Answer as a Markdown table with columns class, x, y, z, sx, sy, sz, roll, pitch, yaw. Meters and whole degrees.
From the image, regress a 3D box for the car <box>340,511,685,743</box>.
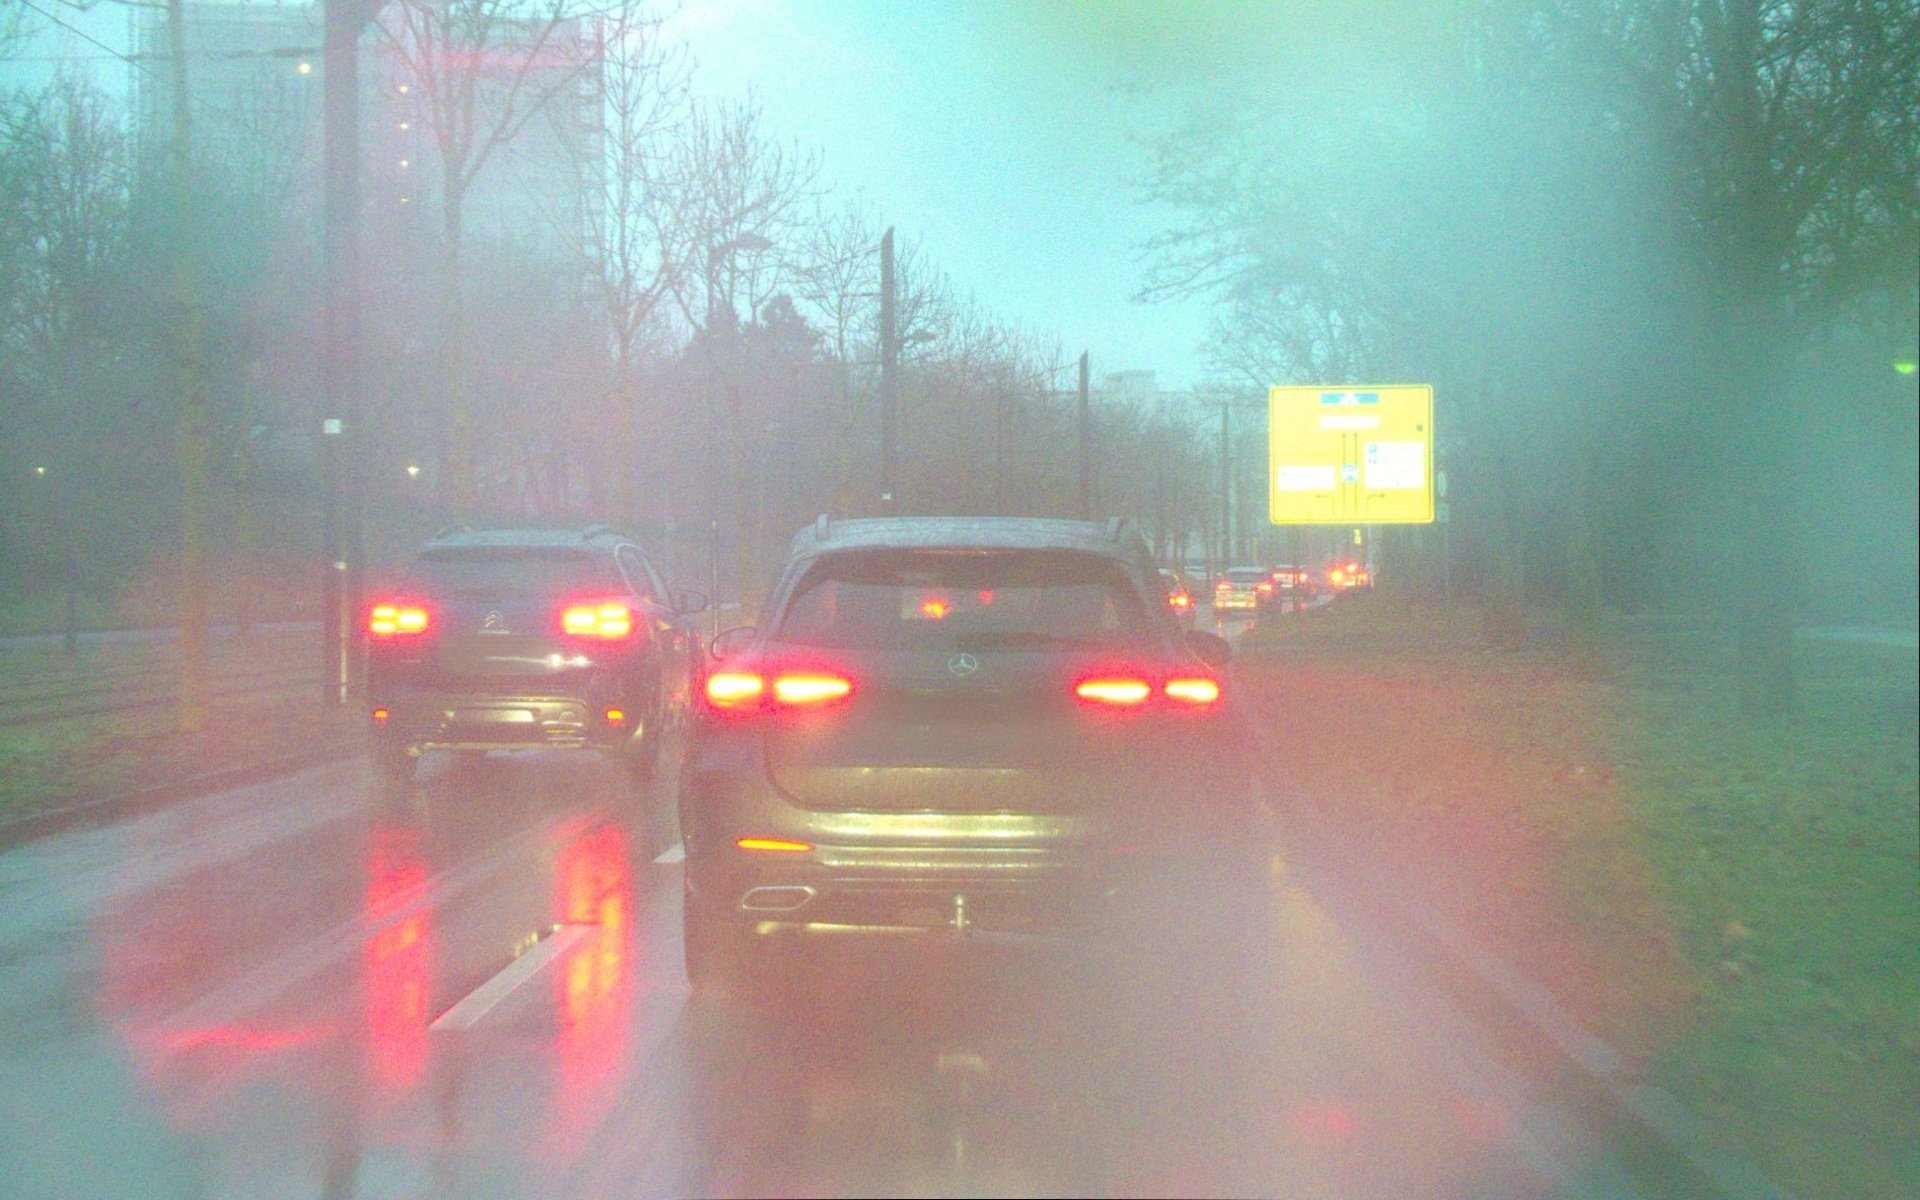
| class | x | y | z | sx | sy | sz | roll | pitch | yaw |
| --- | --- | --- | --- | --- | --- | --- | --- | --- | --- |
| car | -2.991 | 0.133 | 23.773 | 1.880 | 1.454 | 4.000 | 0 | 1 | 0 |

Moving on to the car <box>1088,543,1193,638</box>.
| class | x | y | z | sx | sy | sz | roll | pitch | yaw |
| --- | --- | --- | --- | --- | --- | --- | --- | --- | --- |
| car | 3.038 | -0.176 | 58.569 | 1.709 | 1.552 | 3.996 | 0 | 1 | 2 |

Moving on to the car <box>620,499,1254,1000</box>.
| class | x | y | z | sx | sy | sz | roll | pitch | yaw |
| --- | --- | --- | --- | --- | --- | --- | --- | --- | --- |
| car | -0.141 | 0.440 | 12.900 | 1.998 | 1.578 | 4.000 | 0 | 1 | -2 |

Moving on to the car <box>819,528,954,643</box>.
| class | x | y | z | sx | sy | sz | roll | pitch | yaw |
| --- | --- | --- | --- | --- | --- | --- | --- | --- | --- |
| car | -1.091 | -0.242 | 50.007 | 1.880 | 1.588 | 4.001 | 0 | 1 | -2 |
